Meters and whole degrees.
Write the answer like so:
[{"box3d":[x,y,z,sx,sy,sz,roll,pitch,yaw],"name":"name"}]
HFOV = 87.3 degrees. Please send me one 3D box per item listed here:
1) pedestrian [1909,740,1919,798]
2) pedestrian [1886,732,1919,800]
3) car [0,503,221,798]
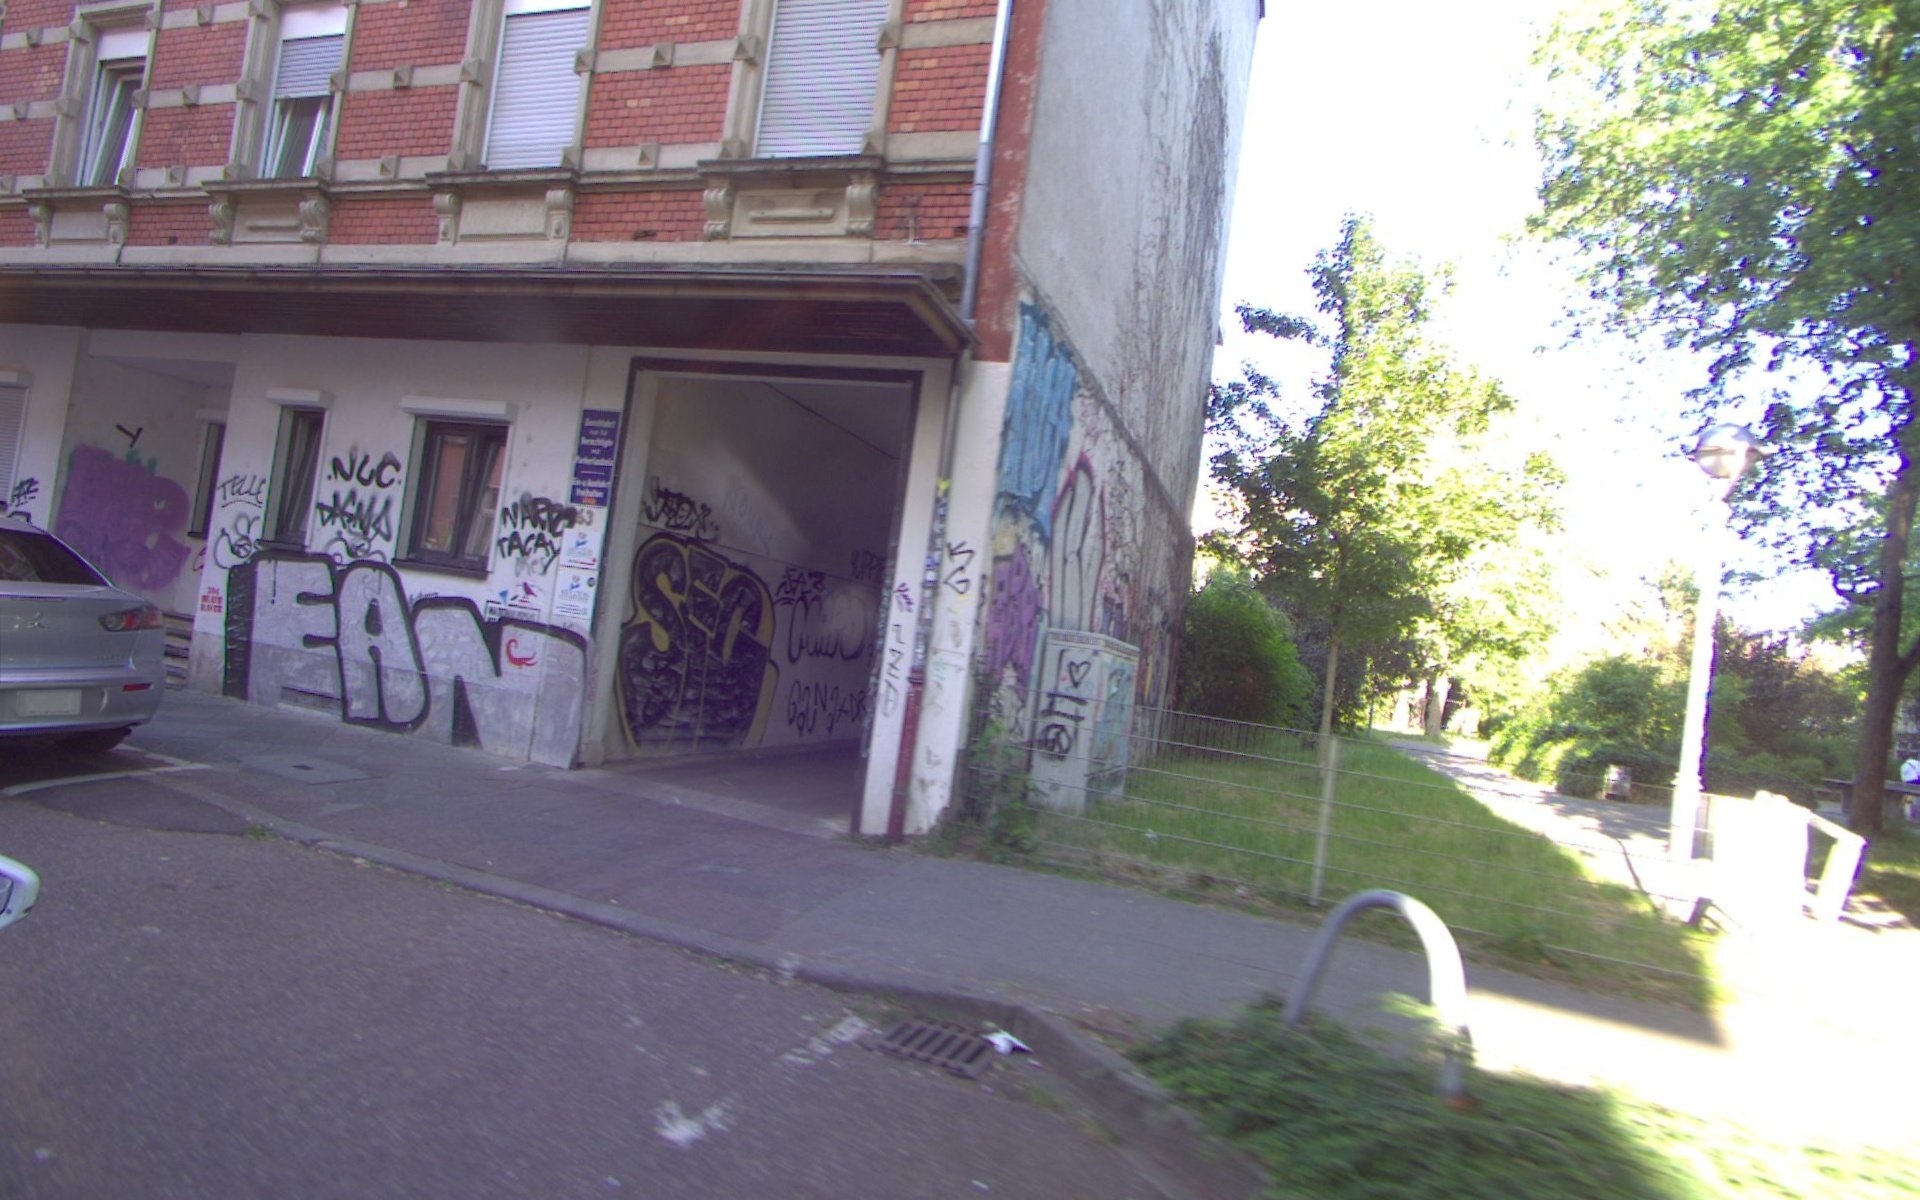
[{"box3d":[34.437,6.051,35.582,0.740,2.037,0.907,8,-1,-23],"name":"pedestrian"},{"box3d":[30.704,5.369,32.395,0.740,2.037,0.907,8,-1,-23],"name":"pedestrian"},{"box3d":[-7.069,0.043,6.297,4.317,1.579,1.729,7,-2,21],"name":"car"}]
